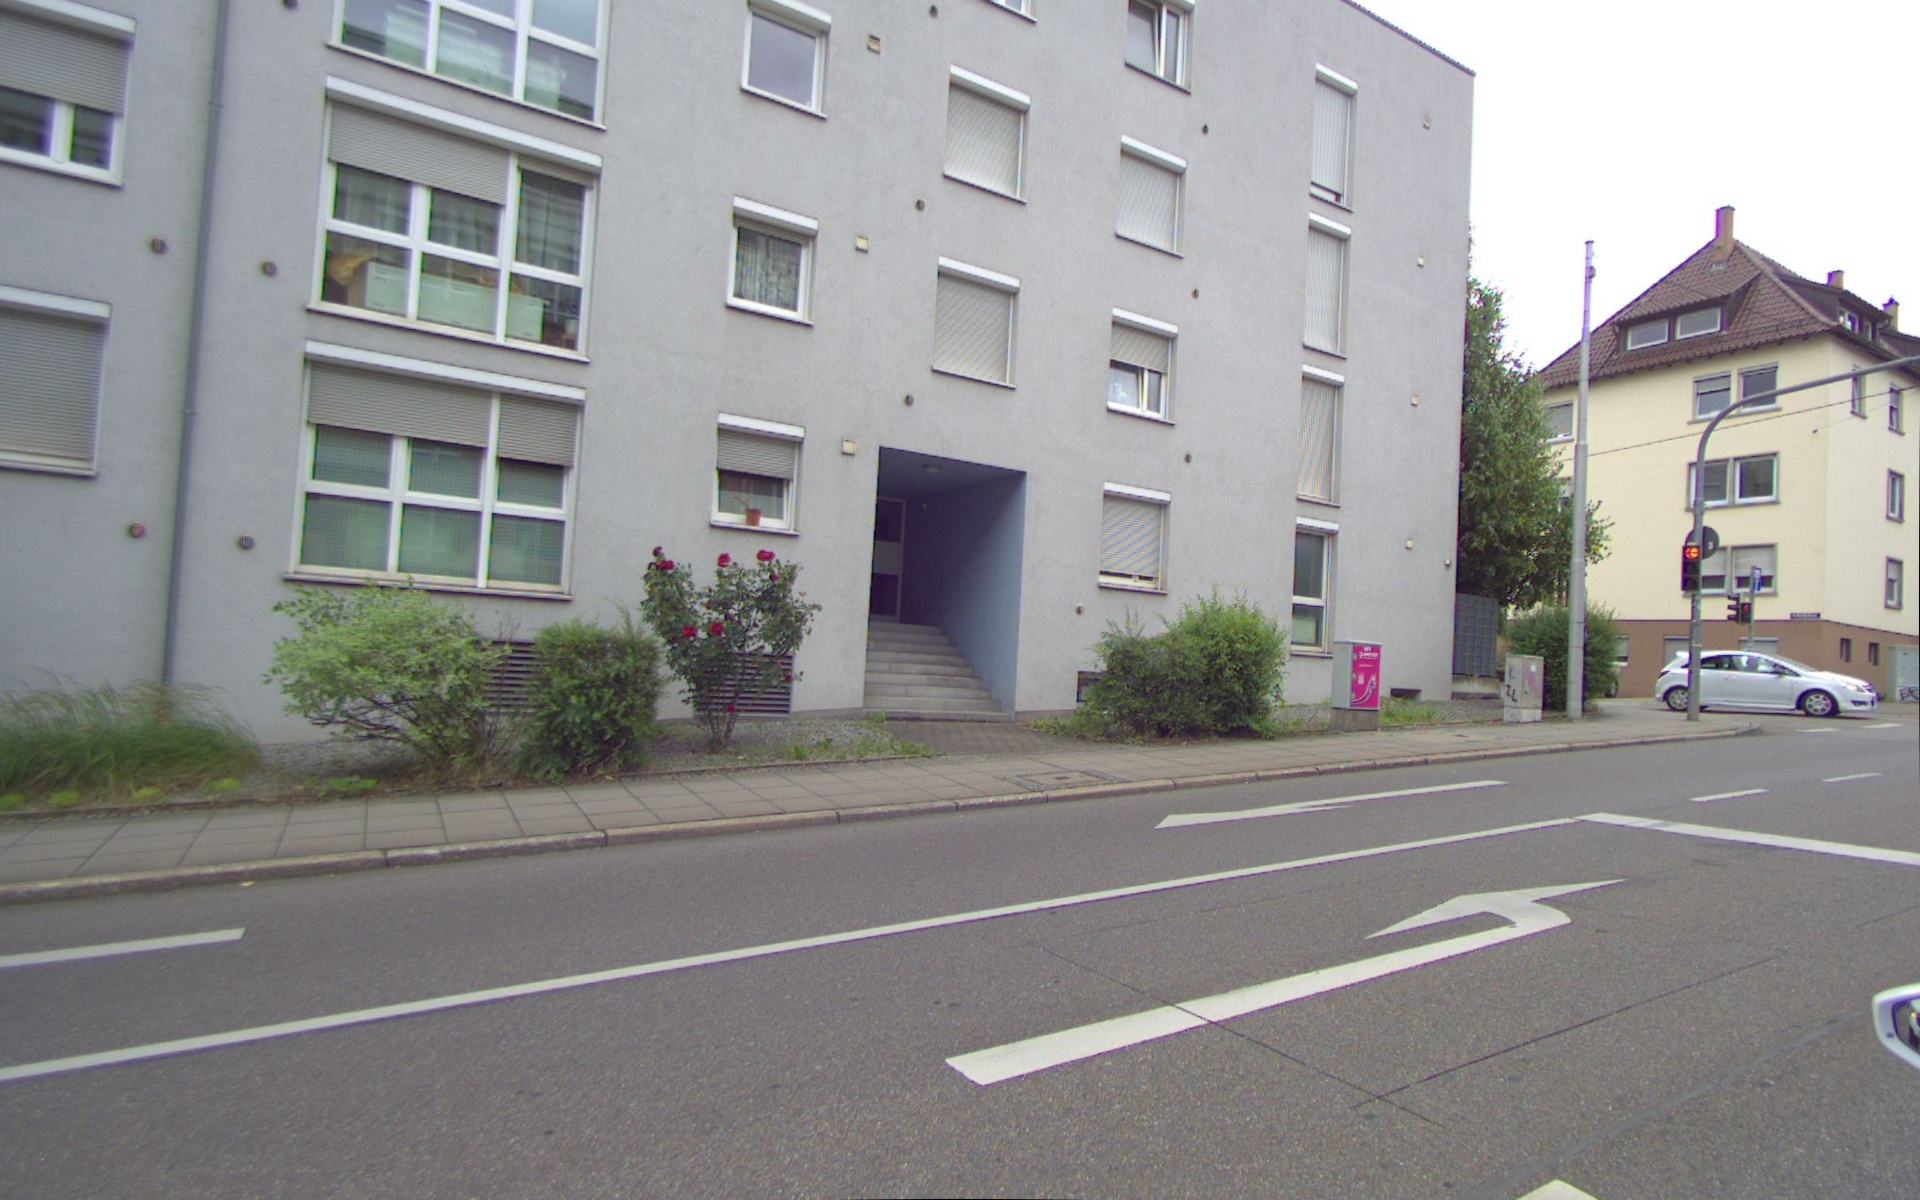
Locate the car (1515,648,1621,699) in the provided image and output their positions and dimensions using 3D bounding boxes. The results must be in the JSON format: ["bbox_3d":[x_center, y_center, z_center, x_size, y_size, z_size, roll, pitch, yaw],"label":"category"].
[{"bbox_3d":[20.931,2.487,34.536,3.727,1.629,1.681,1,-4,-34],"label":"car"}]

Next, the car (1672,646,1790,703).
[{"bbox_3d":[23.045,2.200,30.001,3.727,1.575,1.681,1,-4,-34],"label":"car"}]

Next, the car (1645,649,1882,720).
[{"bbox_3d":[18.423,1.869,23.174,1.682,1.411,4.023,2,-2,-39],"label":"car"}]
